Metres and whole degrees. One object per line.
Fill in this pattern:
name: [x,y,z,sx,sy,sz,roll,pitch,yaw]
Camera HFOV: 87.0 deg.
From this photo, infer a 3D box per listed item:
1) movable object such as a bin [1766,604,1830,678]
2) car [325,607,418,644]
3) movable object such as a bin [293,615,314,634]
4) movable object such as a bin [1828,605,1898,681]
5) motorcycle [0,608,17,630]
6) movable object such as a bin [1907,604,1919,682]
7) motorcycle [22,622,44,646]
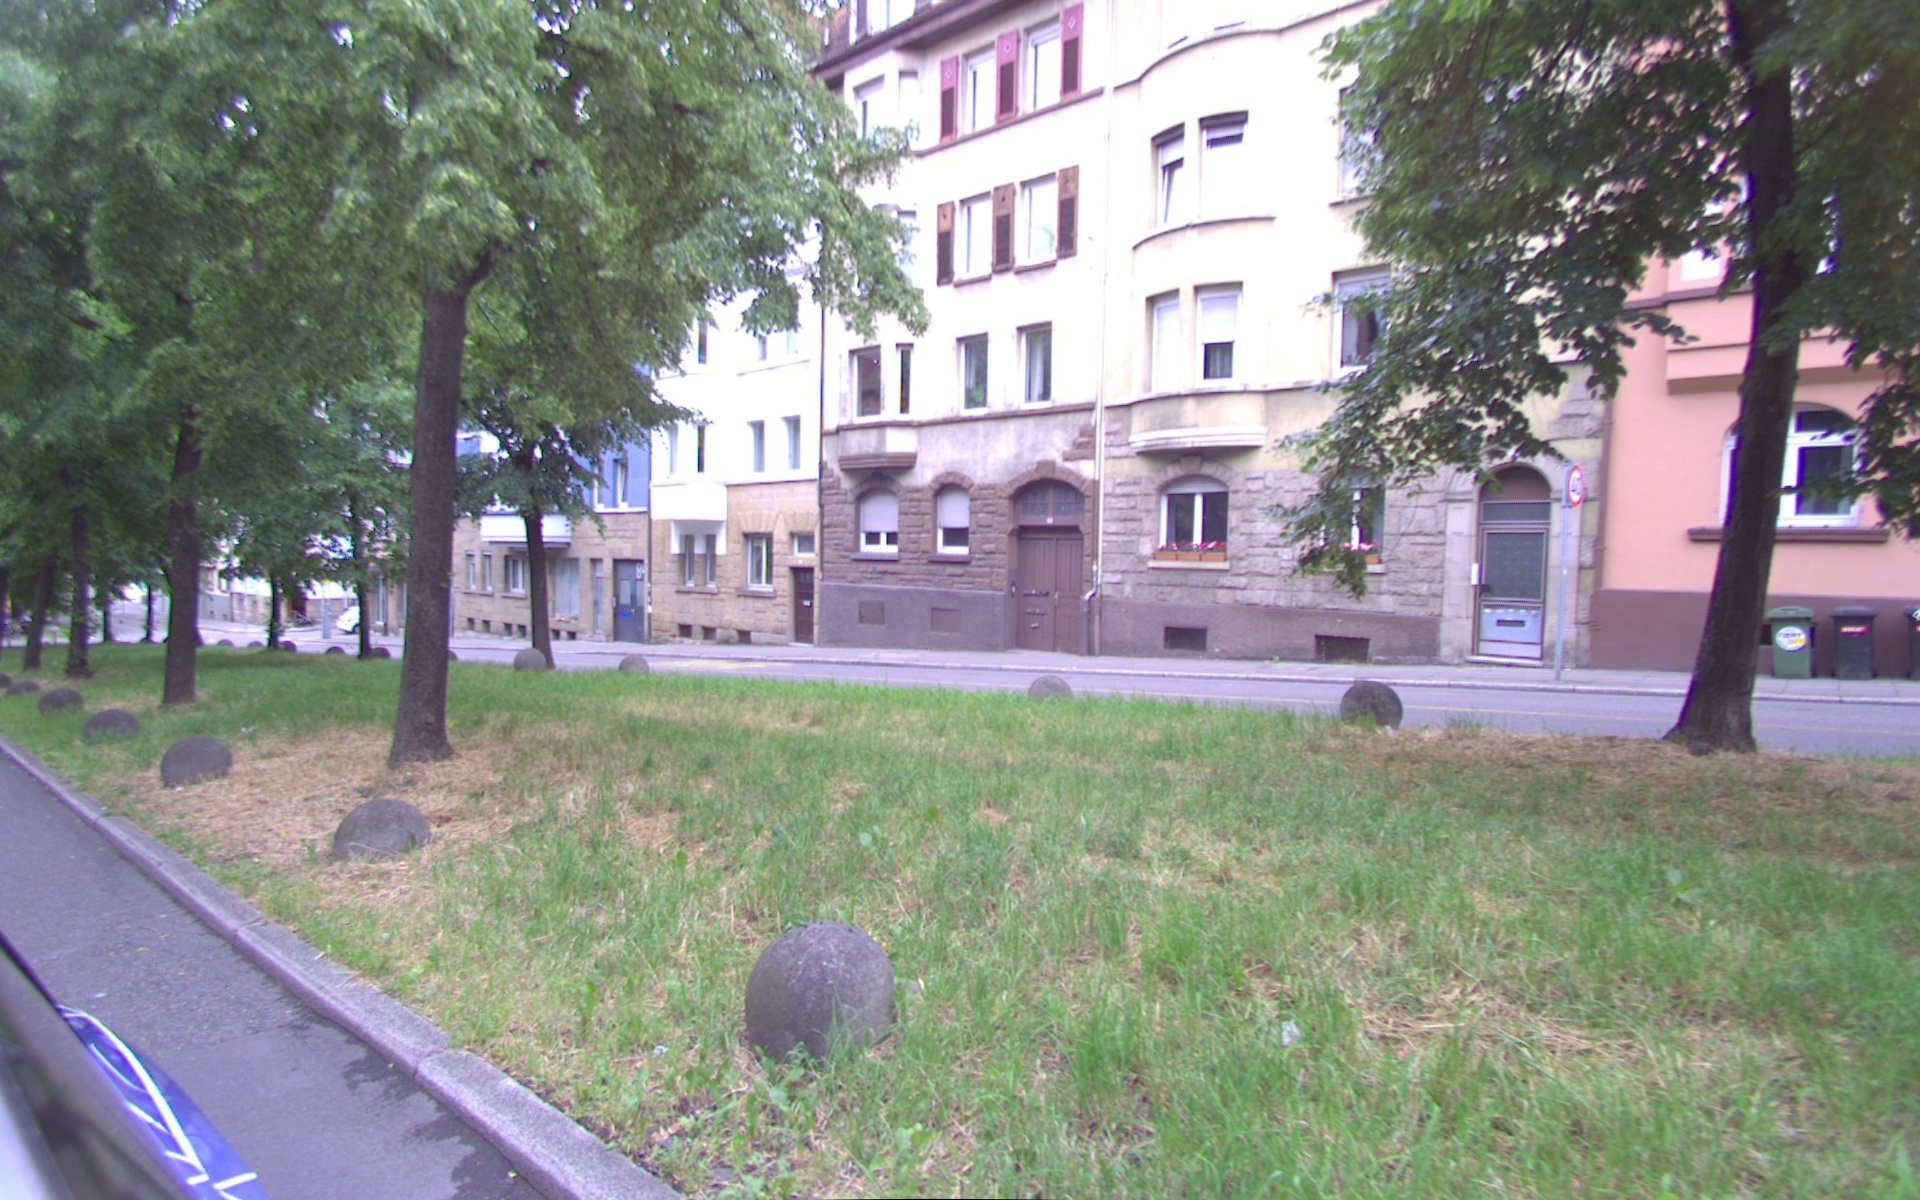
movable object such as a bin: [10.915,0.529,13.202,0.601,0.911,0.603,-1,1,38]
car: [-32.267,1.373,55.582,1.870,1.480,3.960,2,7,39]
movable object such as a bin: [-38.506,1.421,59.364,0.668,1.001,0.877,0,3,40]
movable object such as a bin: [11.377,0.529,12.763,0.601,0.911,0.603,-1,1,38]
motorcycle: [-68.701,1.367,71.947,0.963,1.494,2.392,3,2,42]
movable object such as a bin: [11.937,0.512,12.264,0.601,0.911,0.603,-1,1,38]
motorcycle: [-47.126,1.714,51.467,0.740,1.081,1.854,-2,3,-41]
